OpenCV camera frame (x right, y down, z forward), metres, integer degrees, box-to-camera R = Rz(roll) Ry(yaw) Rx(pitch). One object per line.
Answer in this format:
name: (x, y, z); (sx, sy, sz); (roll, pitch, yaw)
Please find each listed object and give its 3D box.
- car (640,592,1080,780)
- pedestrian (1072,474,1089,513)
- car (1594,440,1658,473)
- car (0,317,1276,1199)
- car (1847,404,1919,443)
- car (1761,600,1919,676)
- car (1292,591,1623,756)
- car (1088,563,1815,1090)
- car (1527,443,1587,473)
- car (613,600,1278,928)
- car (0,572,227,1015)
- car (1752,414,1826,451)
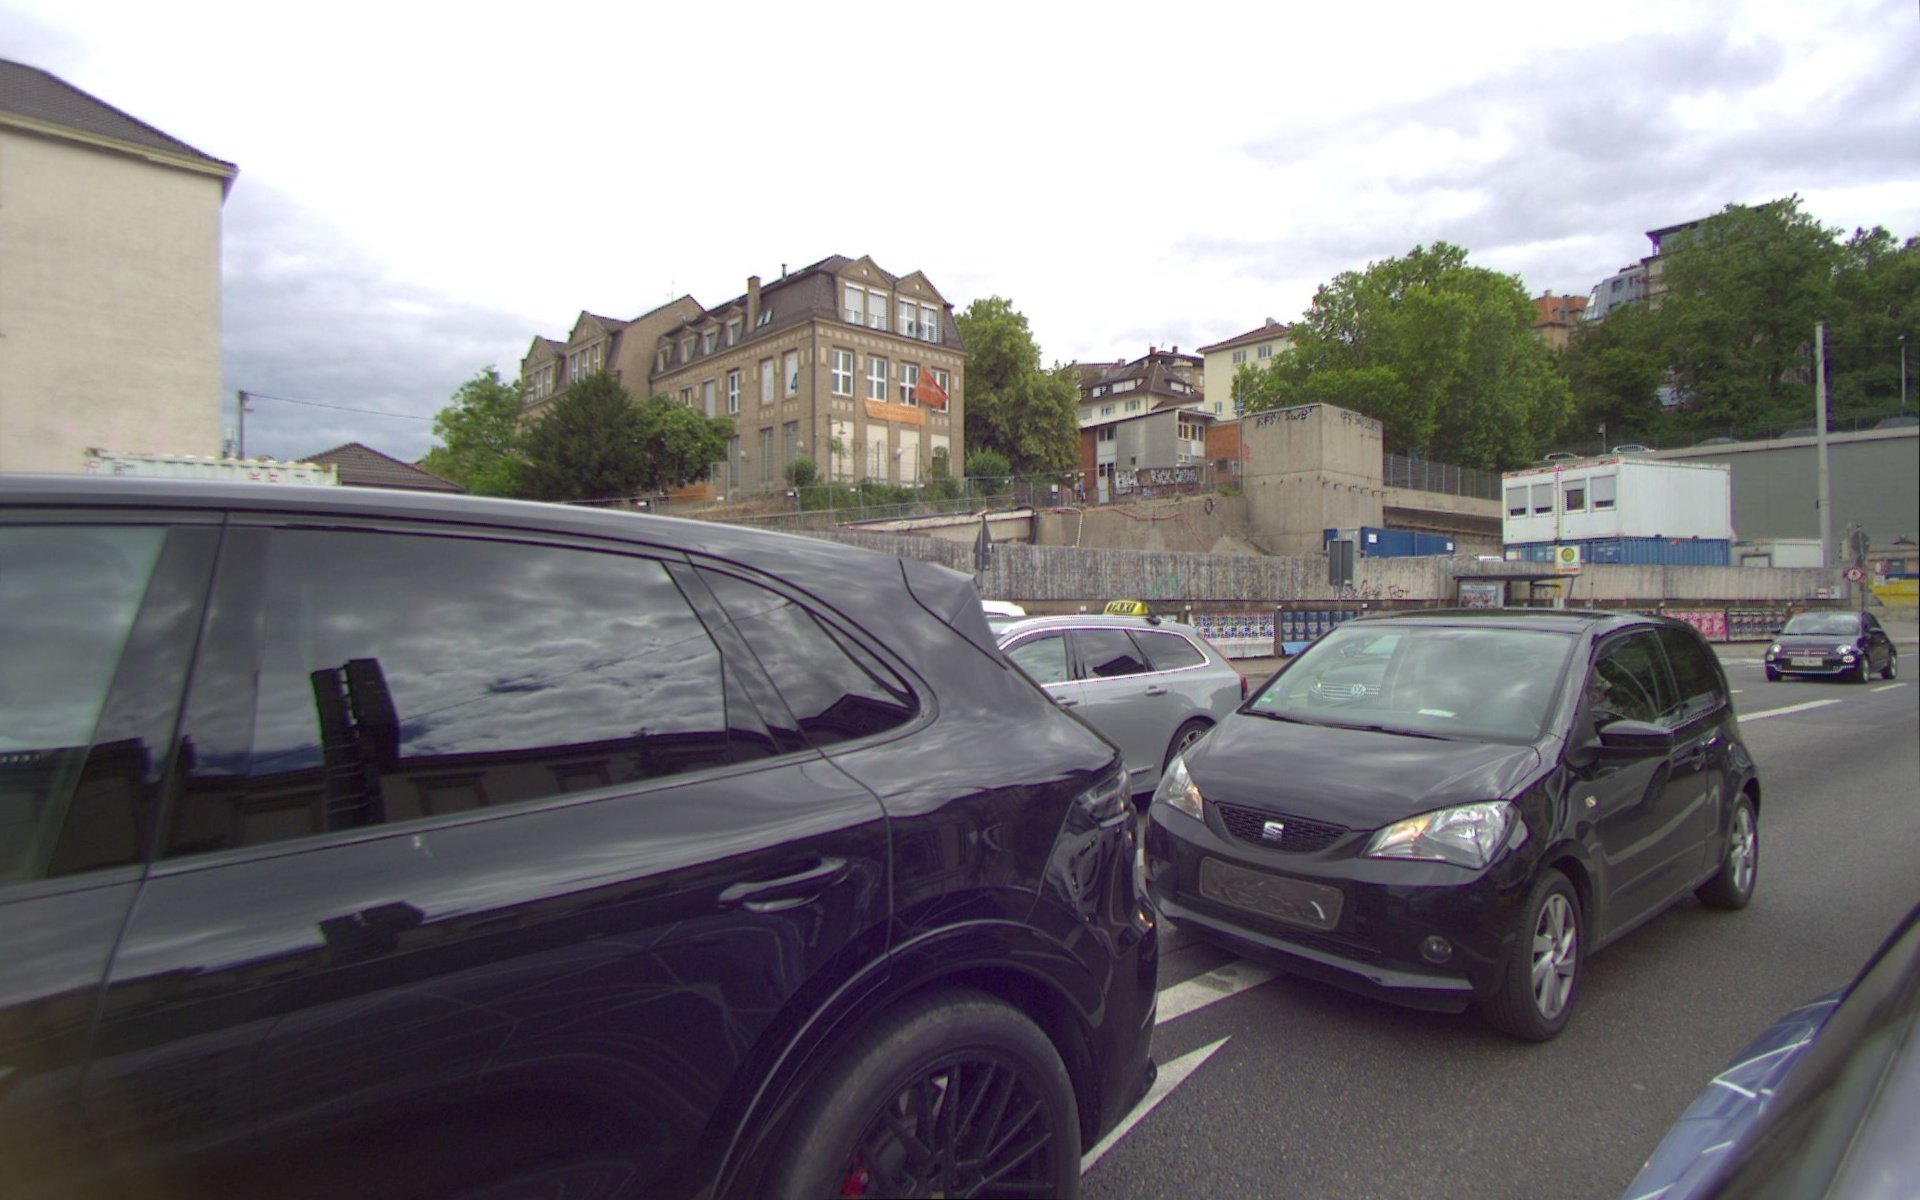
car: (-0.878, 0.721, 10.681); (4.471, 1.579, 1.703); (0, 0, -41)
pedestrian: (6.608, -5.825, 55.449); (0.656, 2.039, 0.644); (0, 0, -45)
car: (53.569, -11.516, 81.437); (3.988, 2.039, 1.968); (0, 1, 45)
car: (-1.623, 0.581, 1.703); (4.552, 1.707, 1.959); (0, -1, -40)
car: (64.158, -12.198, 70.046); (1.966, 2.039, 3.991); (0, 1, -43)
car: (18.776, 0.744, 21.528); (3.925, 1.462, 1.731); (0, -1, -36)
car: (5.896, 0.692, 11.761); (4.468, 1.579, 1.704); (0, 0, -38)
car: (2.527, 0.657, 4.788); (3.812, 1.515, 1.667); (0, -1, -40)
car: (50.254, -11.924, 85.226); (3.988, 2.039, 1.968); (0, 1, 45)
car: (0.130, 0.817, 7.169); (4.570, 1.591, 1.826); (0, 0, -39)
car: (-4.884, 0.690, 3.421); (3.812, 1.563, 1.667); (0, -1, -40)
car: (60.619, -12.229, 74.013); (1.966, 2.039, 3.991); (0, 1, -43)
